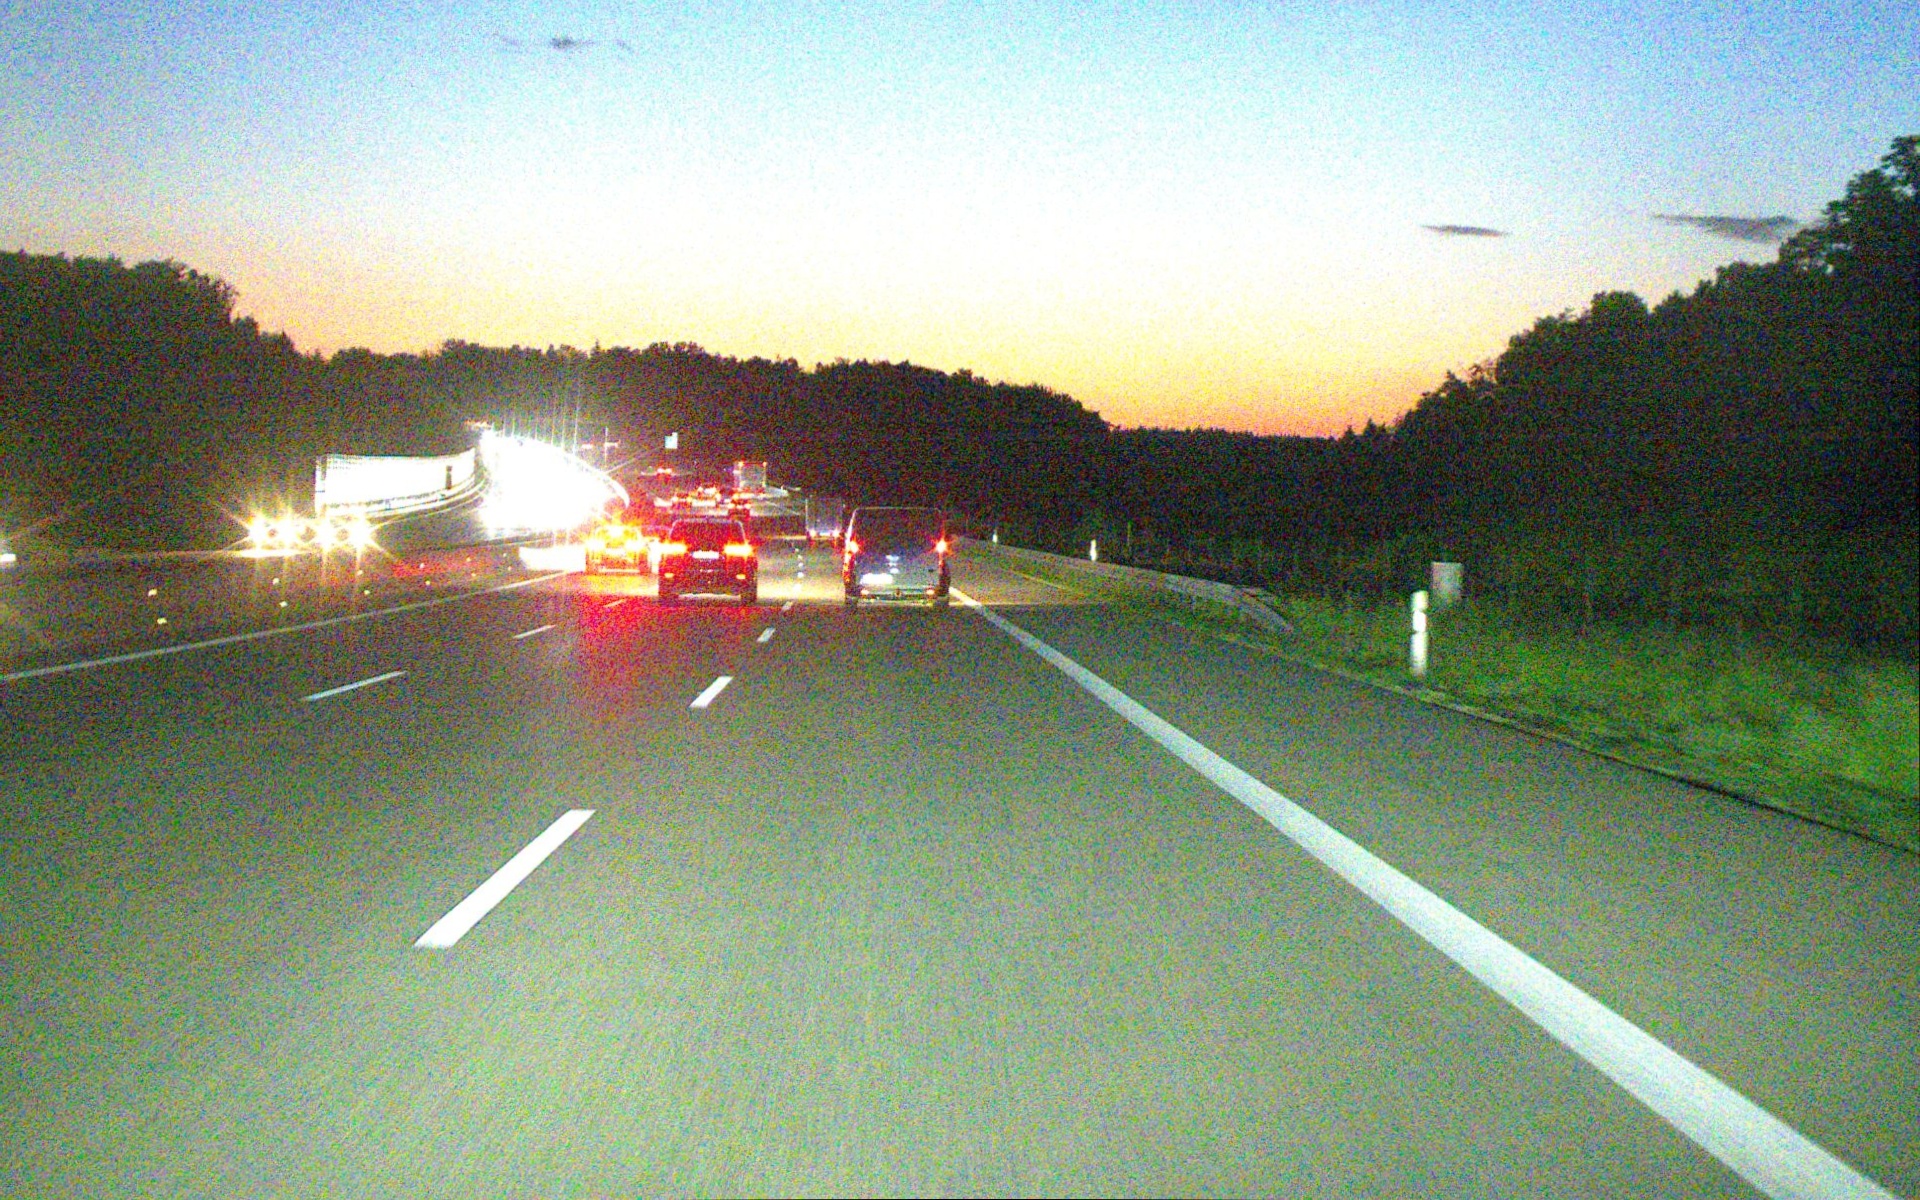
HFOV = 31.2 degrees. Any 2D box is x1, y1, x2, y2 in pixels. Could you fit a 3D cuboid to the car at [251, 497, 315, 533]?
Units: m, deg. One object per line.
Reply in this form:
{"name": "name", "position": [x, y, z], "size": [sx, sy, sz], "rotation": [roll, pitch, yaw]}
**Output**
{"name": "car", "position": [-27.846, -3.477, 141.531], "size": [1.774, 1.424, 4.659], "rotation": [1, 1, -1]}

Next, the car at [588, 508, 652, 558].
{"name": "car", "position": [-10.121, -1.986, 102.683], "size": [1.549, 1.426, 5.515], "rotation": [0, 1, -2]}

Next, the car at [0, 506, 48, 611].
{"name": "car", "position": [-16.799, -0.718, 57.363], "size": [1.993, 1.728, 4.659], "rotation": [1, 1, -1]}

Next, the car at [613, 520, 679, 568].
{"name": "car", "position": [-10.657, -1.923, 116.995], "size": [1.779, 1.481, 5.254], "rotation": [-2, 2, -1]}

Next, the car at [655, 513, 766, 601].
{"name": "car", "position": [-5.076, -0.896, 70.646], "size": [1.993, 1.715, 5.943], "rotation": [0, 1, -1]}

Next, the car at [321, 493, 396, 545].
{"name": "car", "position": [-22.700, -3.042, 129.895], "size": [2.104, 1.879, 4.659], "rotation": [1, 1, -1]}

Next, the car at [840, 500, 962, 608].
{"name": "car", "position": [-1.165, -0.912, 65.629], "size": [2.196, 1.948, 4.764], "rotation": [0, 2, -3]}
